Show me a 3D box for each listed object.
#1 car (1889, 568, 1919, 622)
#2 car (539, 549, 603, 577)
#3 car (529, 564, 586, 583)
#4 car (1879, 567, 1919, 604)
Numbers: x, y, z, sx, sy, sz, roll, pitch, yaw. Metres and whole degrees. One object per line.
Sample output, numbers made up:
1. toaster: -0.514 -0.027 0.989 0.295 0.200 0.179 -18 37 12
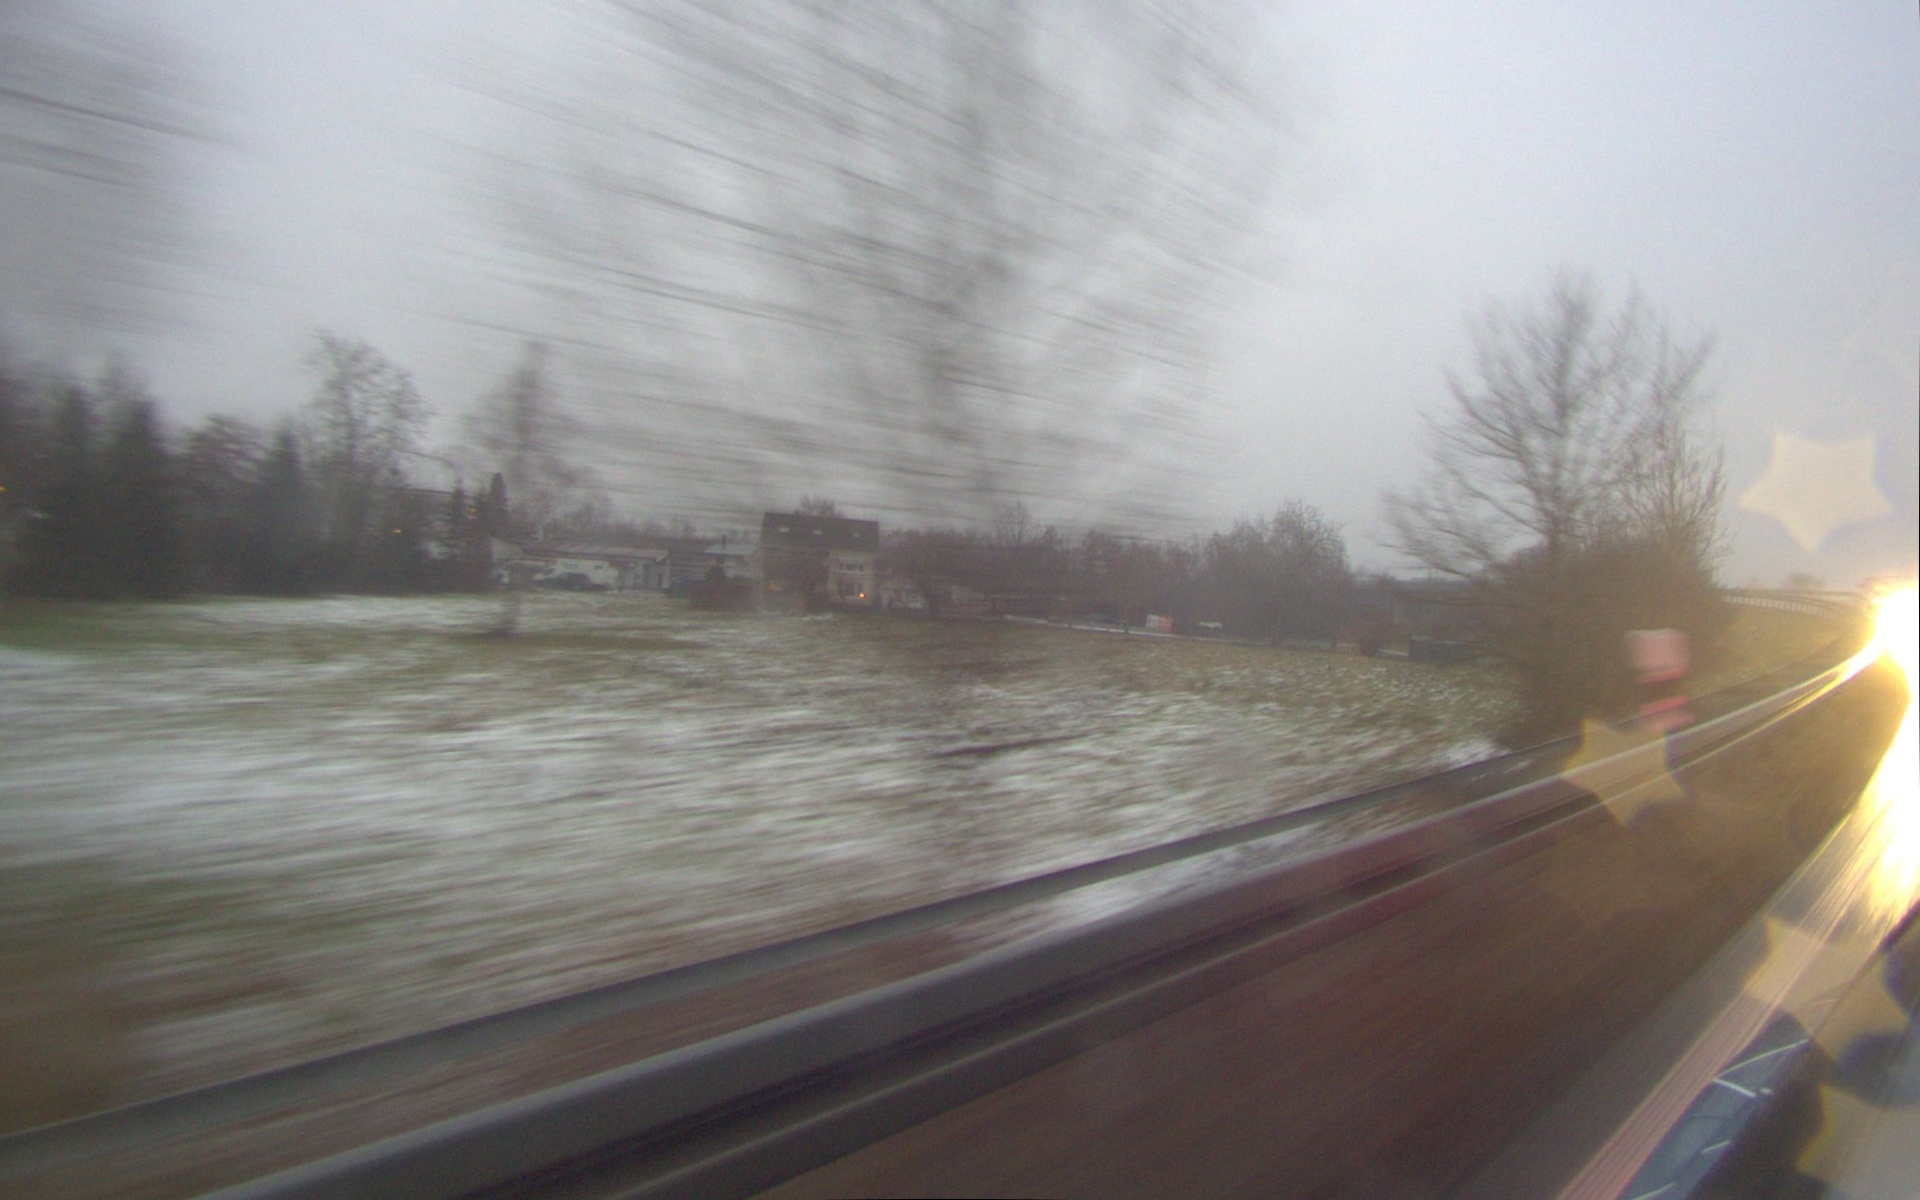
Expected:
1. car: 32.442 -0.086 33.570 2.095 1.595 4.729 4 1 40
2. car: -41.271 -3.917 107.403 5.990 2.875 2.297 1 1 -7
3. car: -40.971 -2.701 103.052 5.017 1.841 2.297 1 2 -7
4. car: 50.782 -0.805 54.277 1.881 1.886 4.935 2 2 39
